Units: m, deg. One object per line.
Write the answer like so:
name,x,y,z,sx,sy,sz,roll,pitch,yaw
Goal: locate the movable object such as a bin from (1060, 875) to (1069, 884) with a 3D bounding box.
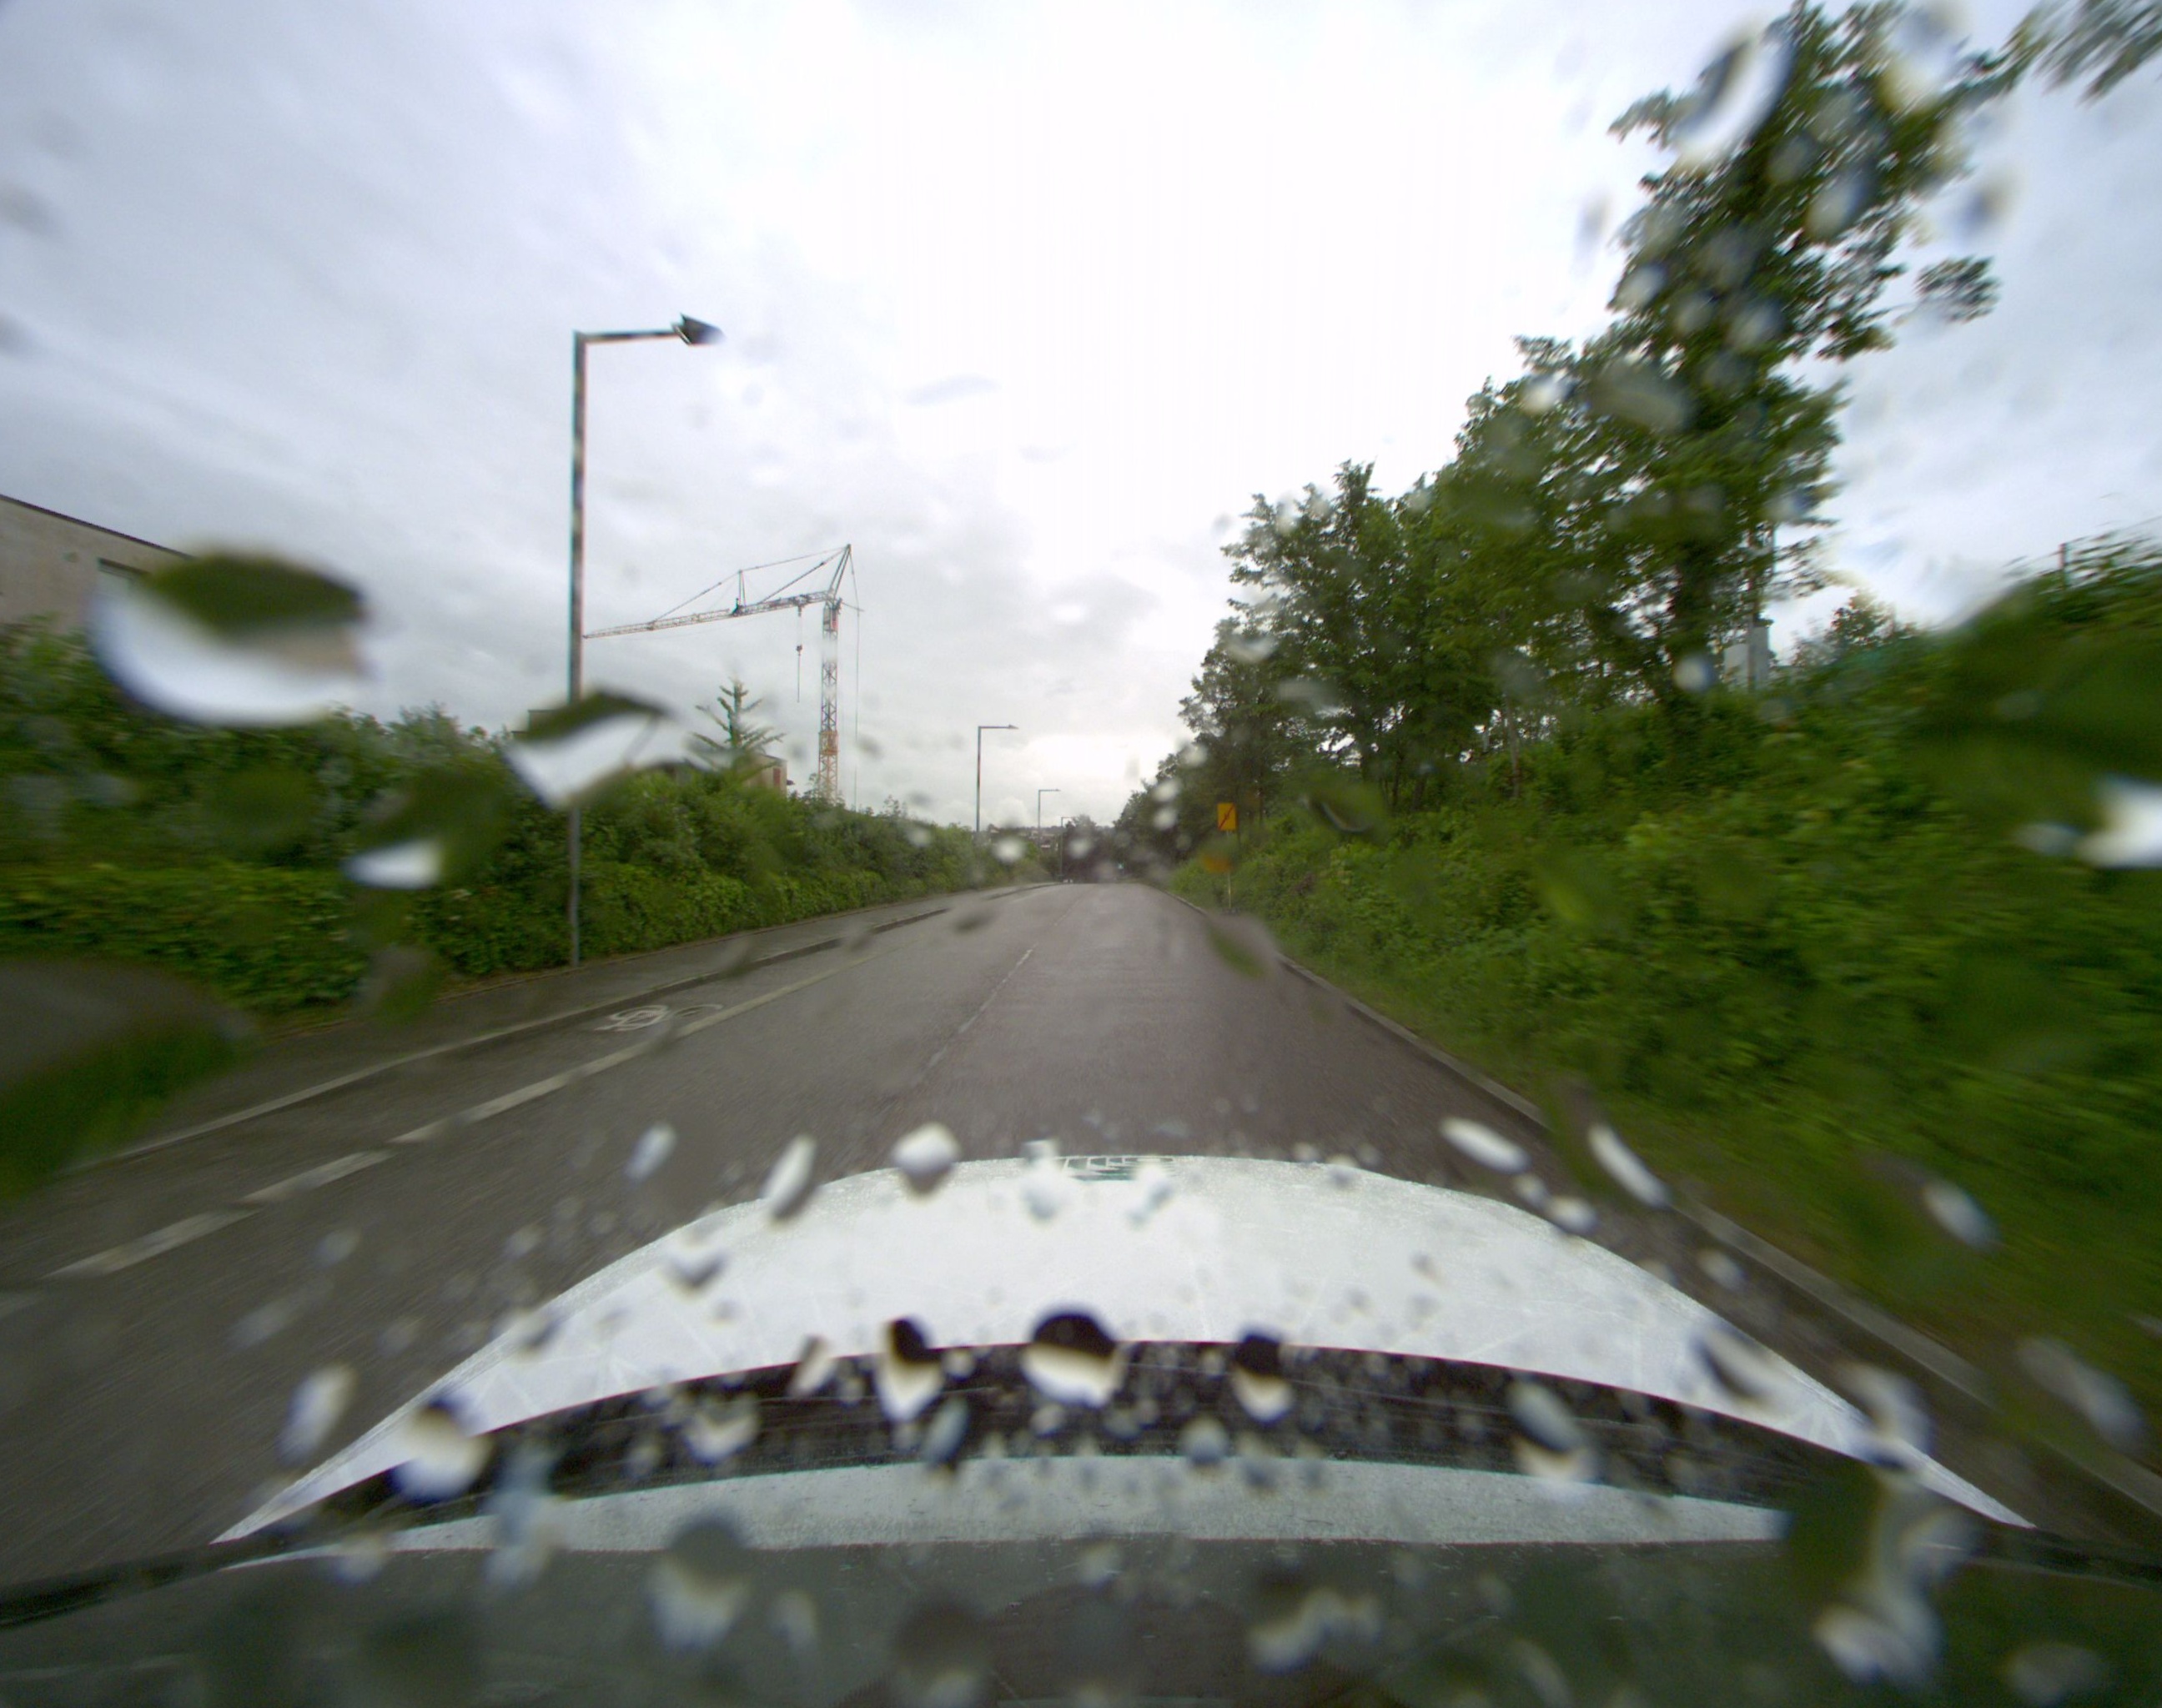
movable object such as a bin,-2.408,3.754,120.749,1.130,1.339,1.395,3,-3,-7
